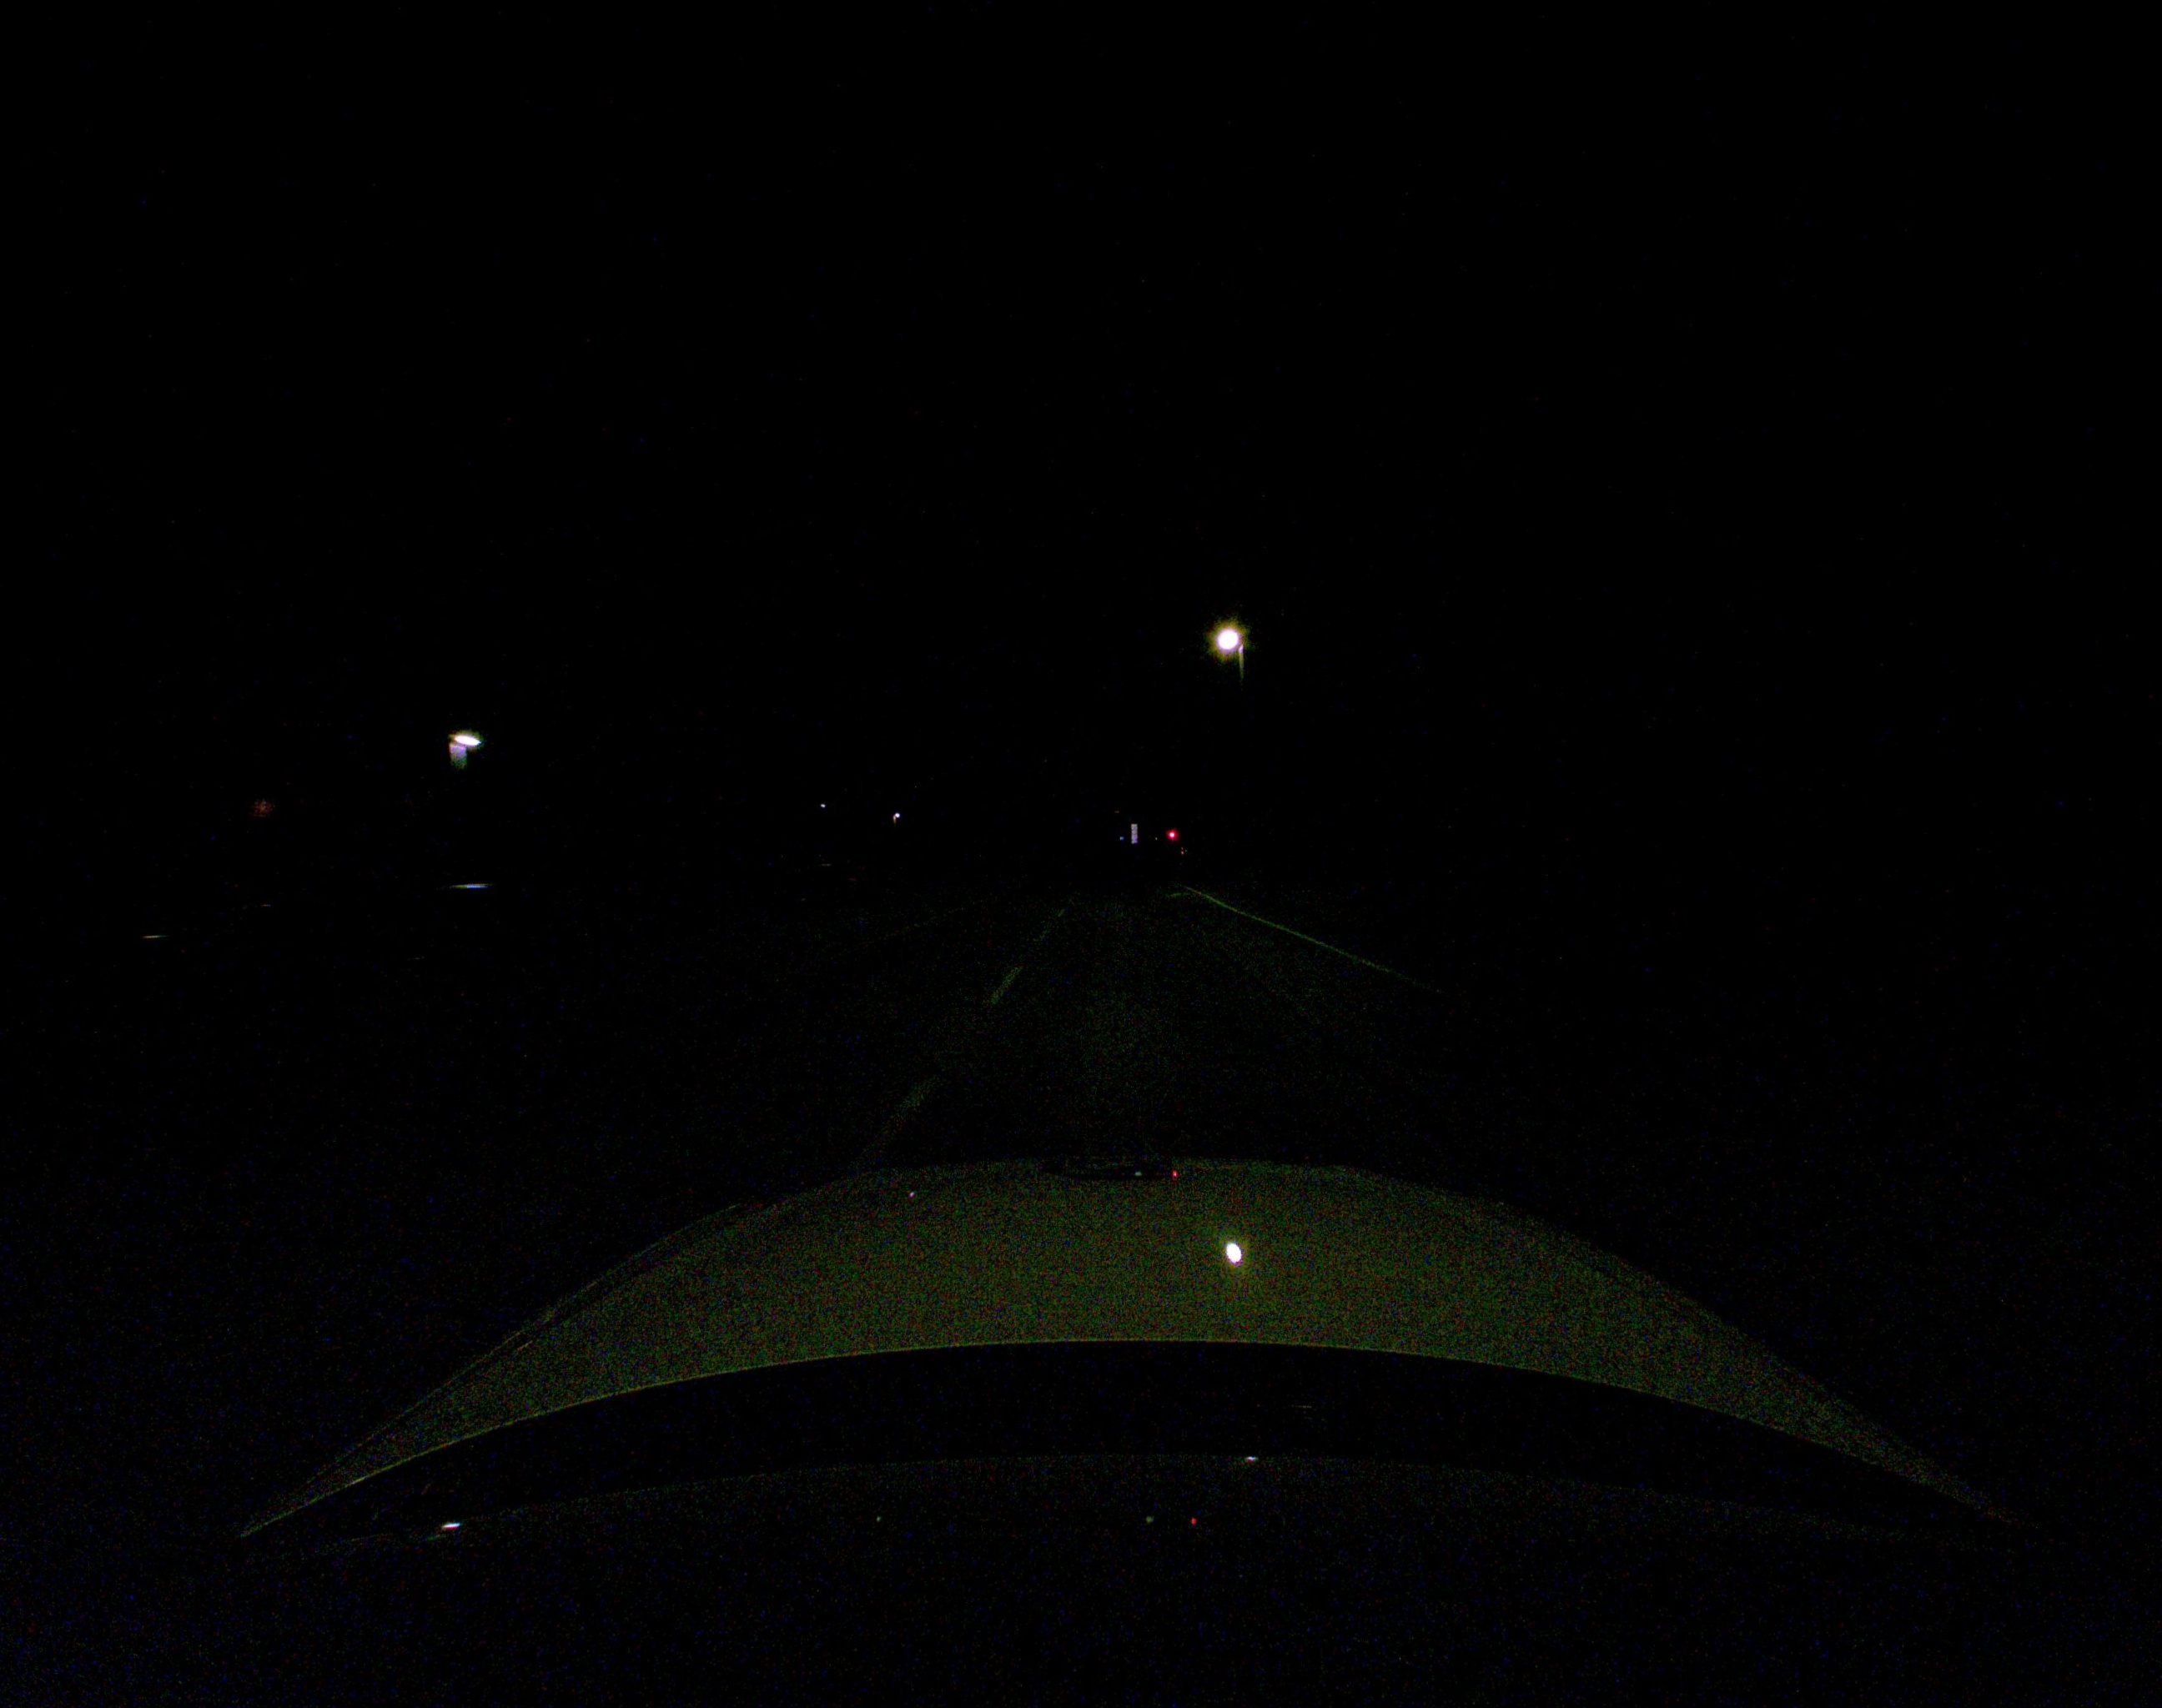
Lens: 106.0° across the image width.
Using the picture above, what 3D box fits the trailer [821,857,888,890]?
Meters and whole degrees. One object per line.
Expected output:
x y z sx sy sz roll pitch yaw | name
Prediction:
-13.826 1.140 50.100 2.015 1.780 5.680 -4 0 4 | trailer

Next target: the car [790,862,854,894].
-14.204 1.286 44.955 1.709 1.577 4.541 -3 -1 5 | car

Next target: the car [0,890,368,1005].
-15.303 1.463 13.702 1.892 1.364 4.989 -5 -1 4 | car

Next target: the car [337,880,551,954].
-15.095 1.436 19.657 1.722 1.364 4.147 -5 -1 2 | car
